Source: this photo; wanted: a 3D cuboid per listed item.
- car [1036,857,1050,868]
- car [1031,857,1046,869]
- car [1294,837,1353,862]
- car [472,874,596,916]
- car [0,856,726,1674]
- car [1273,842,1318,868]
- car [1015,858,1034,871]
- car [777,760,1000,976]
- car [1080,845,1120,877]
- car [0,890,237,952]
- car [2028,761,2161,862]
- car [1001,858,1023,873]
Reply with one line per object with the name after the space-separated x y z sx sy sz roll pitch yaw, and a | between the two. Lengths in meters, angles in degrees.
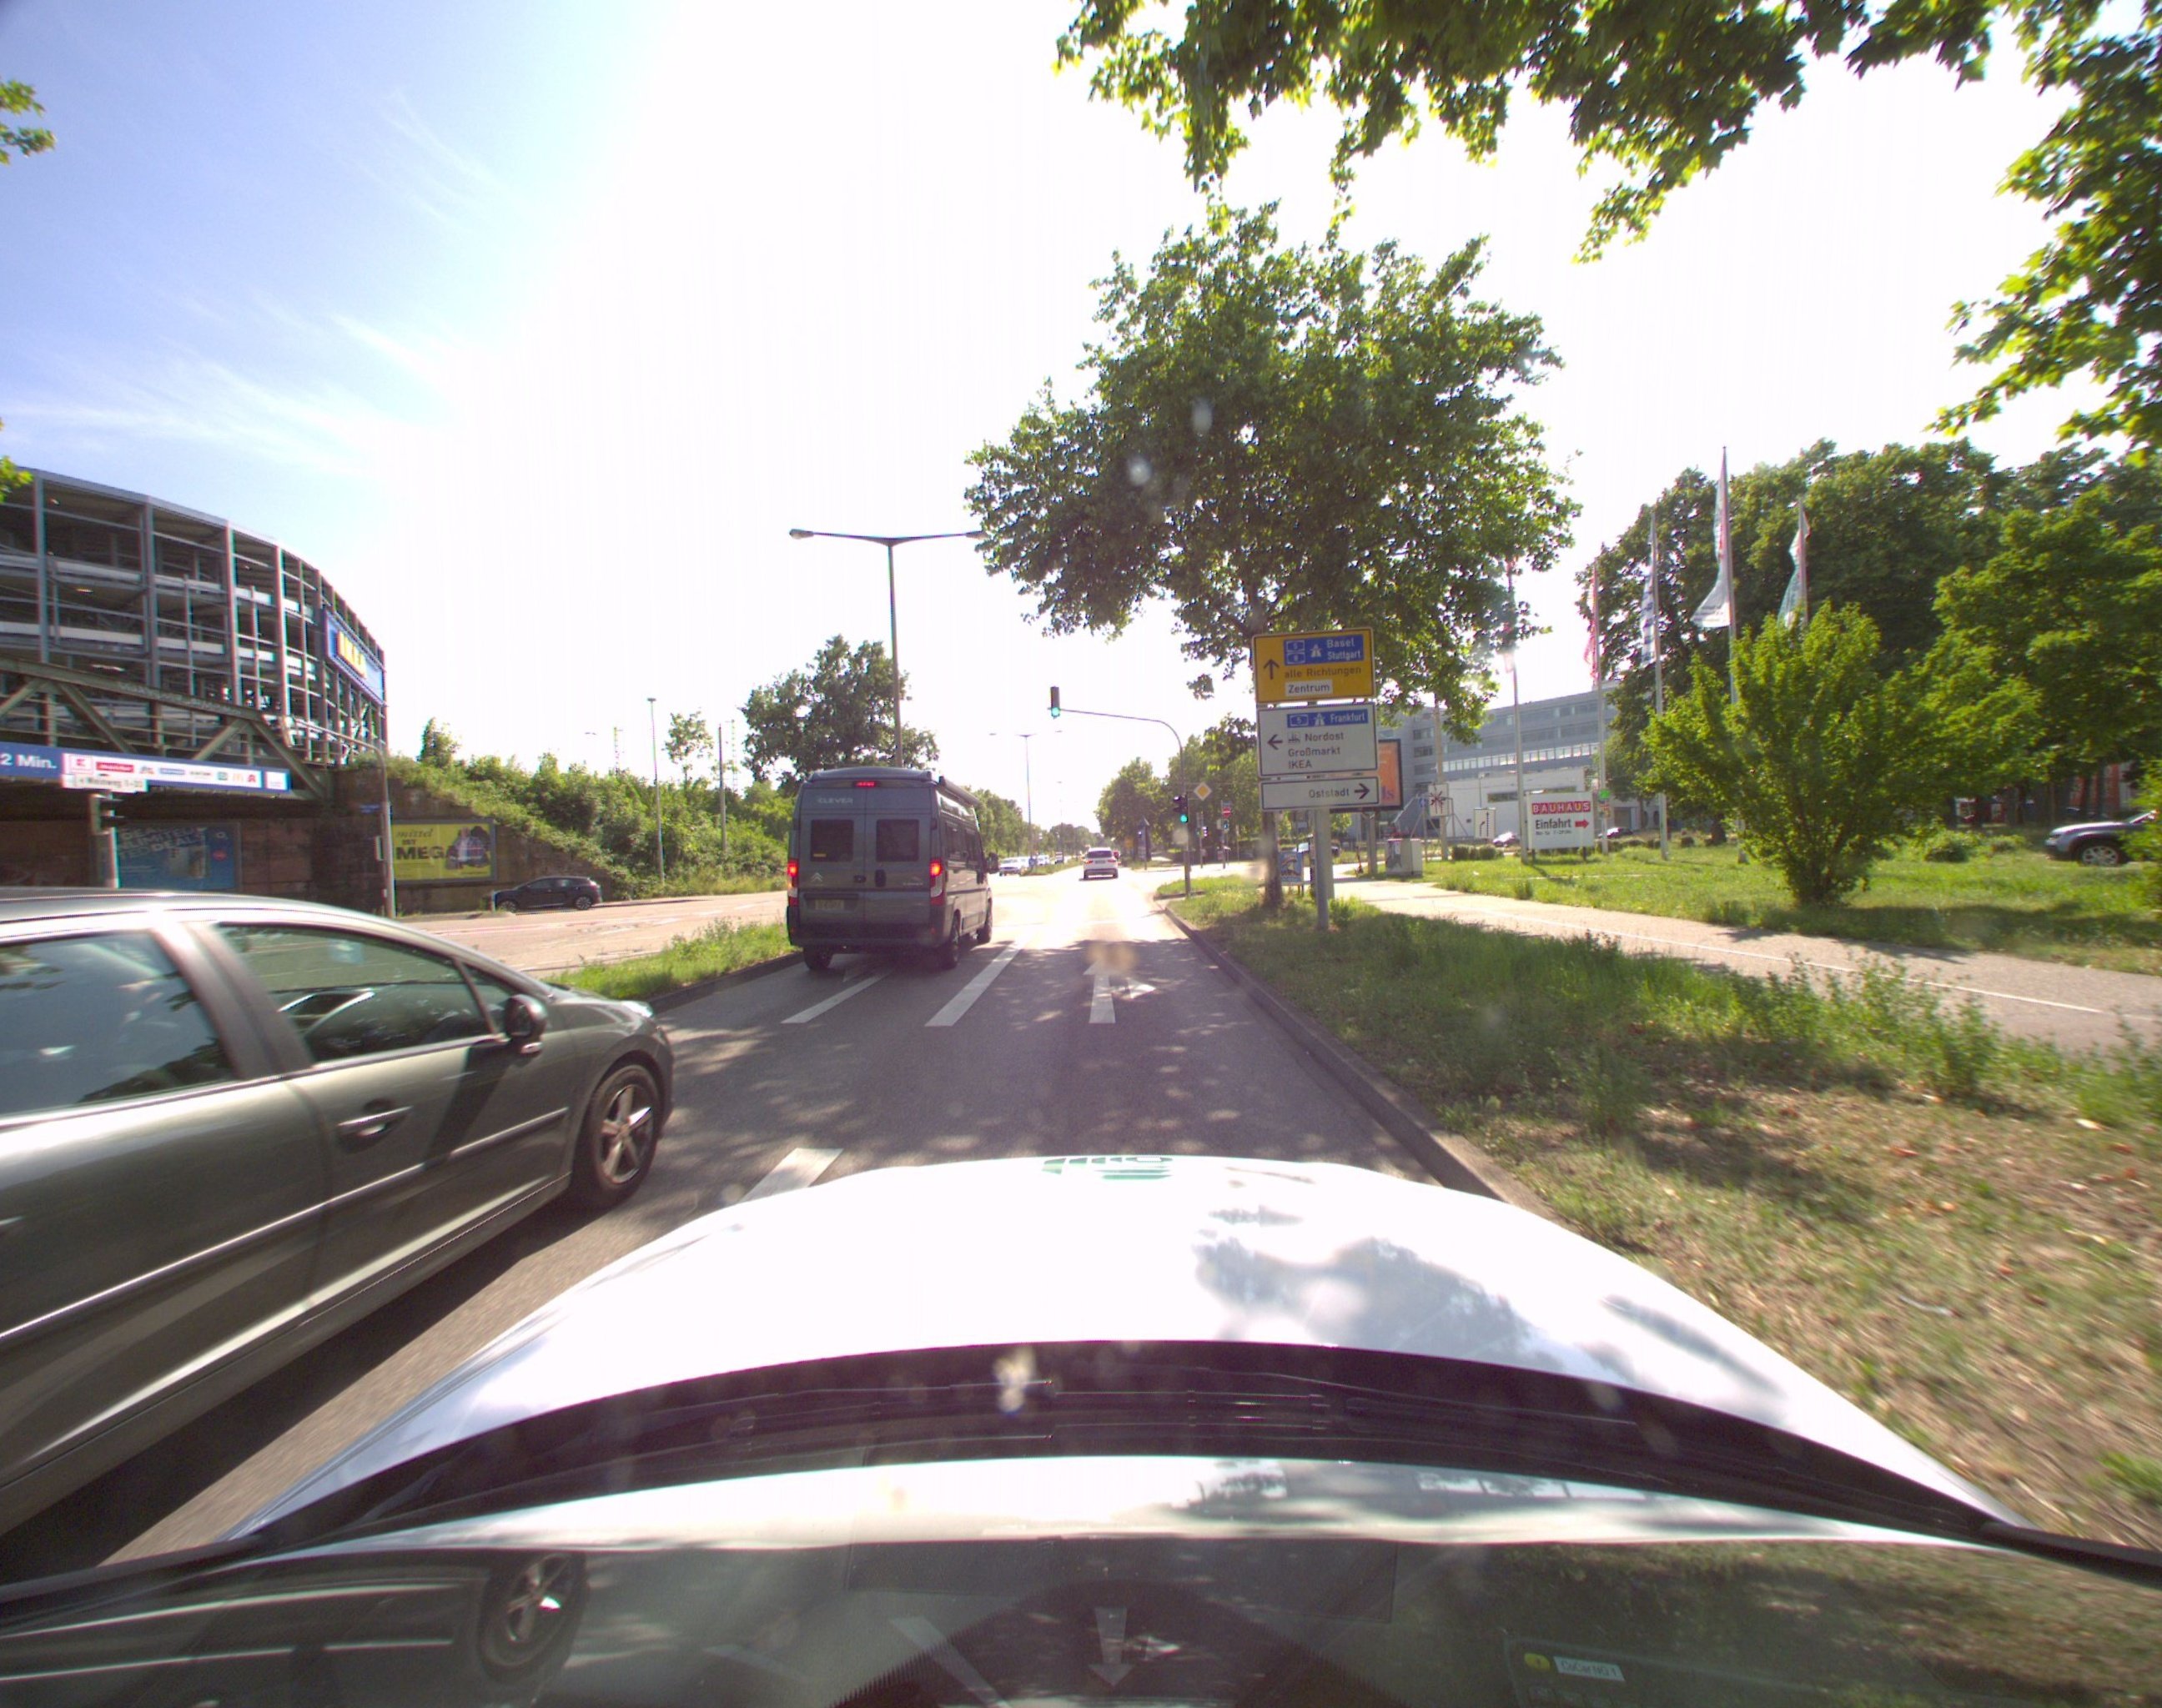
-4.384 0.961 94.480 1.364 1.112 3.208 -3 0 2 | car
-4.590 0.968 88.064 1.364 1.112 3.208 -3 0 2 | car
17.496 -0.340 58.795 3.787 1.757 1.599 -1 0 -8 | car
-22.634 1.659 33.741 4.052 1.418 1.977 -3 0 -39 | car
-2.834 0.781 2.475 1.685 1.505 3.887 -1 0 2 | car
11.348 0.034 43.305 1.364 1.288 4.002 -3 0 2 | car
-5.152 0.929 74.174 1.364 1.112 3.208 -3 0 2 | car
-2.651 0.179 12.610 2.073 2.656 4.877 -1 0 2 | car
0.967 0.349 43.859 1.849 1.607 3.996 -2 1 -3 | car
-28.588 1.933 24.366 4.348 1.426 1.471 -3 0 -33 | car
22.620 -0.905 16.921 2.011 2.013 3.750 -2 0 -42 | car
-5.613 0.916 66.656 1.364 1.112 3.208 -3 0 2 | car
